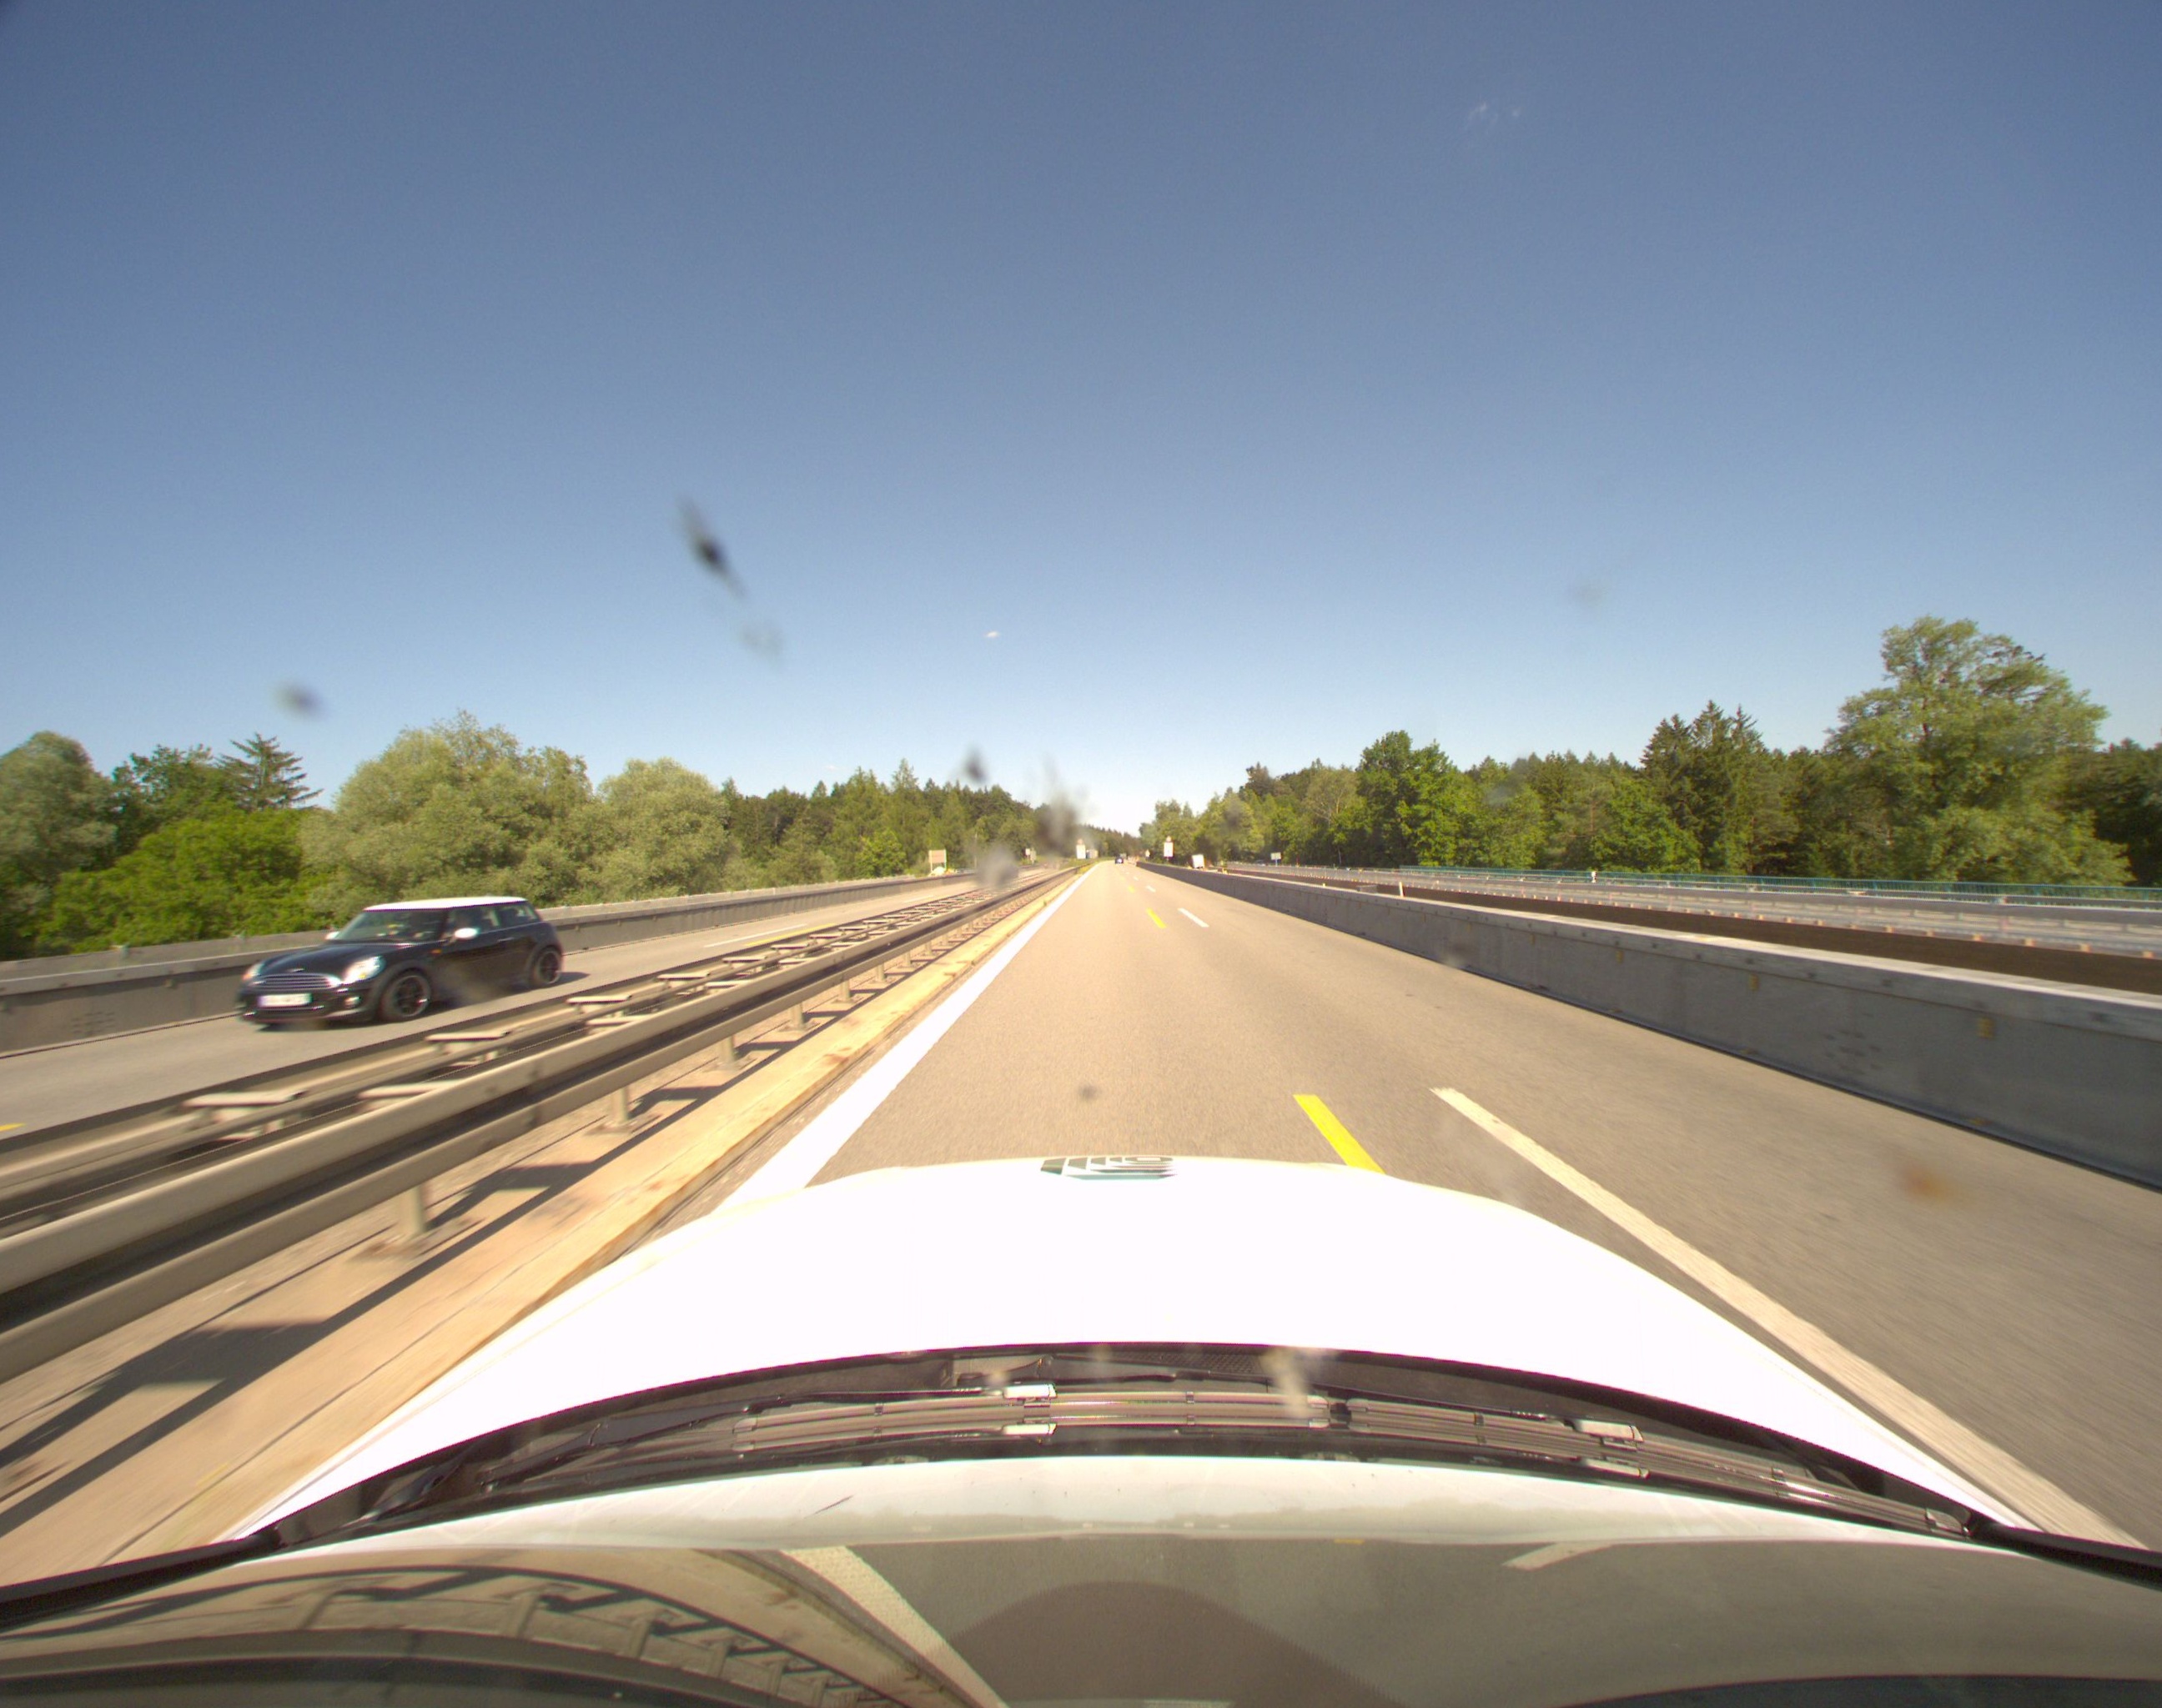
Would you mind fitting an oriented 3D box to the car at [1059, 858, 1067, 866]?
[{"bbox_3d":[-3.913,1.862,179.700,1.521,1.562,3.455,-4,-2,1],"label":"car"}]

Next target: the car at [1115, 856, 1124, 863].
[{"bbox_3d":[8.086,1.171,172.605,1.737,1.466,4.295,-2,0,2],"label":"car"}]

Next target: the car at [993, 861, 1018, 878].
[{"bbox_3d":[-7.034,1.458,76.317,1.737,1.466,4.911,-2,0,1],"label":"car"}]

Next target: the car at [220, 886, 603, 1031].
[{"bbox_3d":[-8.709,1.250,11.195,1.676,1.393,4.194,-2,0,1],"label":"car"}]

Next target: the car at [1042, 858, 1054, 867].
[{"bbox_3d":[-5.468,1.429,135.754,1.737,1.466,4.295,-2,0,1],"label":"car"}]
